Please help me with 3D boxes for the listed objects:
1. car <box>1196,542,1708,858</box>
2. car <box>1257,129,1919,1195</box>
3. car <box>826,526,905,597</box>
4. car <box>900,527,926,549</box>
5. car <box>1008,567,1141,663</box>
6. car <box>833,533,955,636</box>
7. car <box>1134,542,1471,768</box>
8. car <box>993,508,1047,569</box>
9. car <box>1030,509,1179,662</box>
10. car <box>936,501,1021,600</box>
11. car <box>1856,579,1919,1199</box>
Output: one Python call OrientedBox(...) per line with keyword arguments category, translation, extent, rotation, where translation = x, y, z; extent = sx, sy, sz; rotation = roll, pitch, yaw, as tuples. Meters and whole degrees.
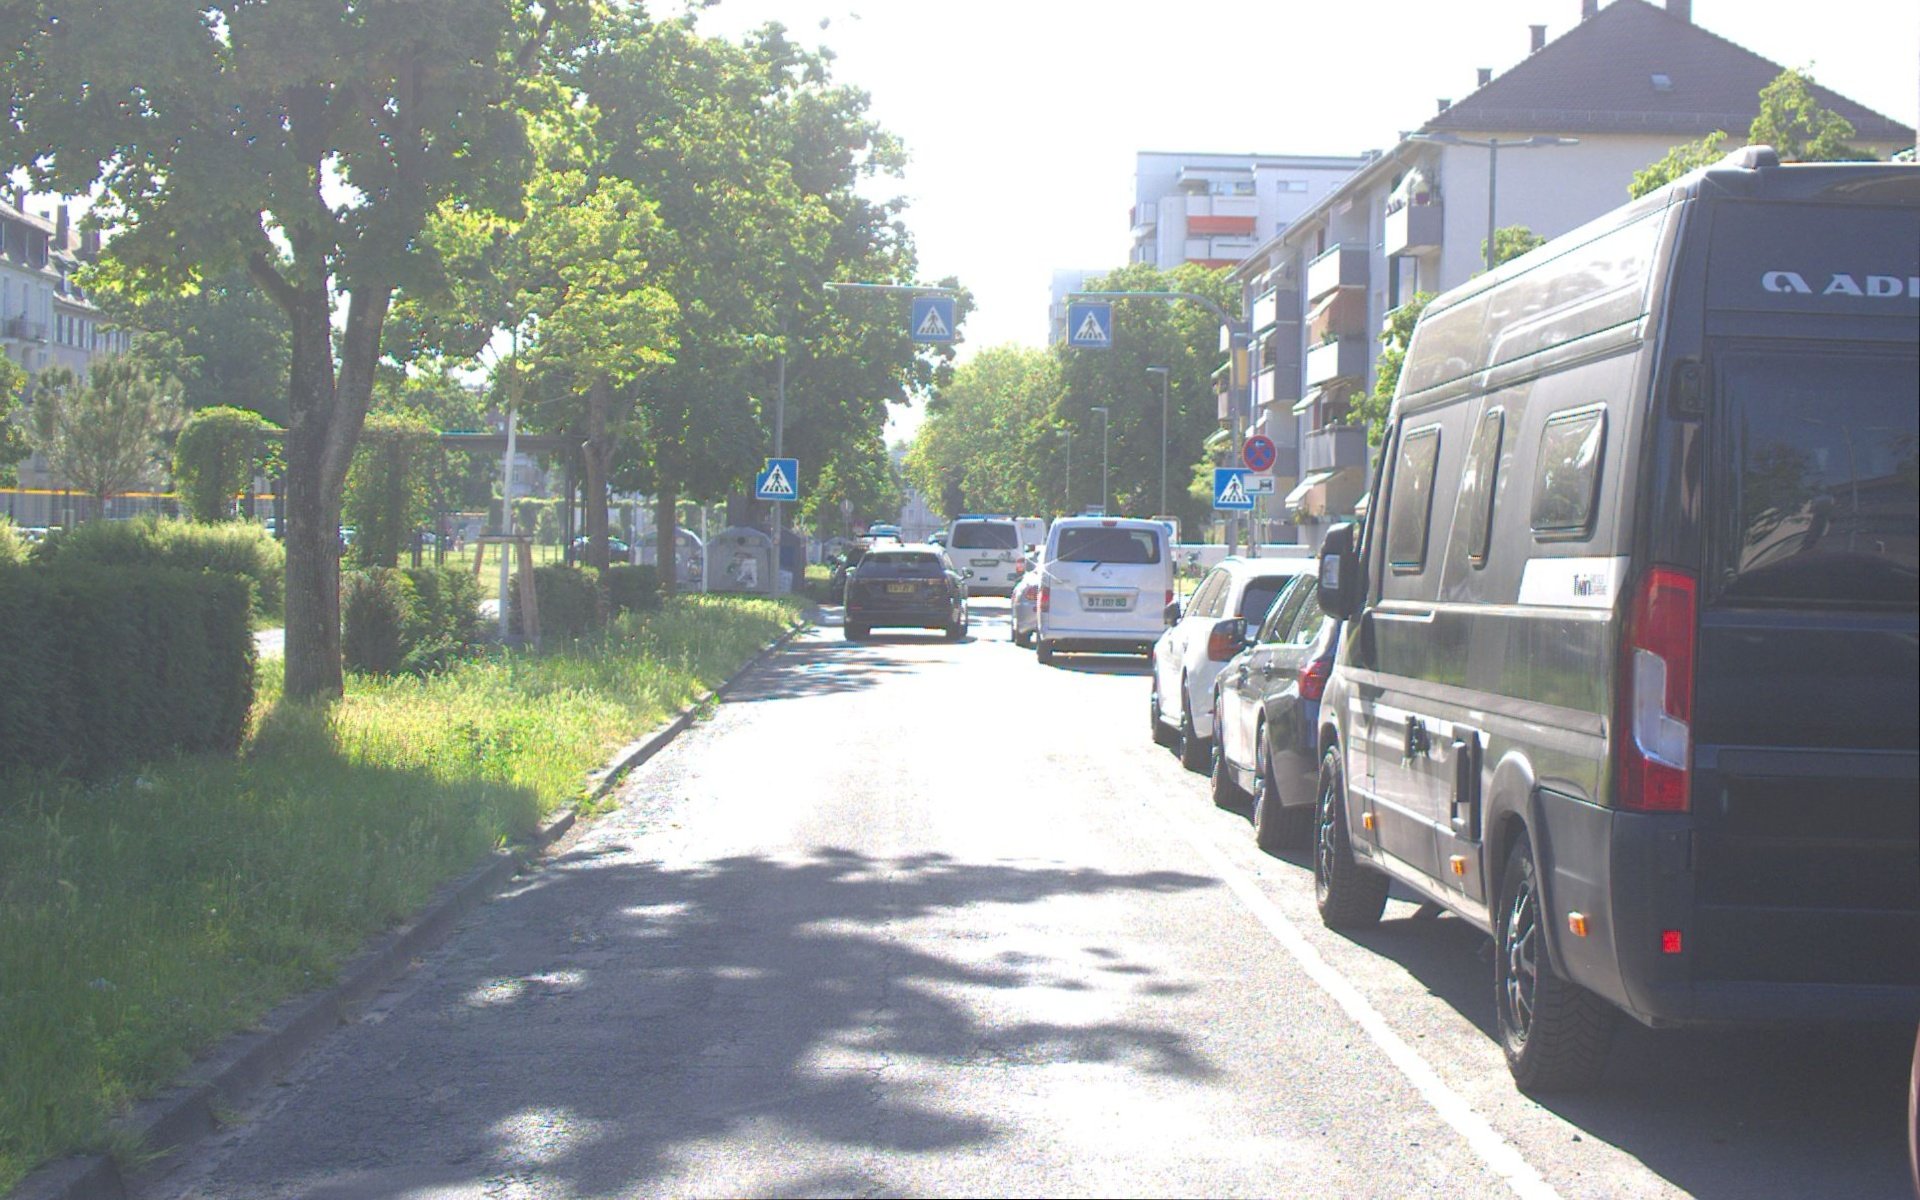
OrientedBox(category="car", translation=(2.427, 0.421, 18.166), extent=(1.993, 1.415, 4.636), rotation=(1, 1, 0))
OrientedBox(category="car", translation=(2.473, 0.100, 11.408), extent=(2.115, 2.507, 6.533), rotation=(1, 1, -2))
OrientedBox(category="car", translation=(-2.241, -0.942, 82.420), extent=(1.794, 1.619, 4.000), rotation=(2, 1, -1))
OrientedBox(category="car", translation=(-3.285, -4.387, 242.264), extent=(1.794, 1.505, 4.000), rotation=(0, 1, 0))
OrientedBox(category="car", translation=(1.665, 0.198, 51.197), extent=(1.764, 1.314, 4.168), rotation=(2, 0, 0))
OrientedBox(category="car", translation=(-1.006, -0.268, 53.670), extent=(1.794, 1.505, 4.000), rotation=(1, 1, -1))
OrientedBox(category="car", translation=(2.317, 0.314, 24.390), extent=(1.794, 1.415, 4.658), rotation=(1, 1, -1))
OrientedBox(category="car", translation=(2.490, -2.566, 143.017), extent=(1.993, 2.422, 4.500), rotation=(3, 1, -1))
OrientedBox(category="car", translation=(1.838, -0.231, 44.765), extent=(1.794, 1.848, 4.413), rotation=(1, 1, 1))
OrientedBox(category="car", translation=(0.395, -1.114, 76.951), extent=(1.794, 2.115, 4.000), rotation=(1, 1, -1))
OrientedBox(category="car", translation=(2.734, 0.736, 4.863), extent=(1.794, 1.450, 3.950), rotation=(1, 1, -1))
